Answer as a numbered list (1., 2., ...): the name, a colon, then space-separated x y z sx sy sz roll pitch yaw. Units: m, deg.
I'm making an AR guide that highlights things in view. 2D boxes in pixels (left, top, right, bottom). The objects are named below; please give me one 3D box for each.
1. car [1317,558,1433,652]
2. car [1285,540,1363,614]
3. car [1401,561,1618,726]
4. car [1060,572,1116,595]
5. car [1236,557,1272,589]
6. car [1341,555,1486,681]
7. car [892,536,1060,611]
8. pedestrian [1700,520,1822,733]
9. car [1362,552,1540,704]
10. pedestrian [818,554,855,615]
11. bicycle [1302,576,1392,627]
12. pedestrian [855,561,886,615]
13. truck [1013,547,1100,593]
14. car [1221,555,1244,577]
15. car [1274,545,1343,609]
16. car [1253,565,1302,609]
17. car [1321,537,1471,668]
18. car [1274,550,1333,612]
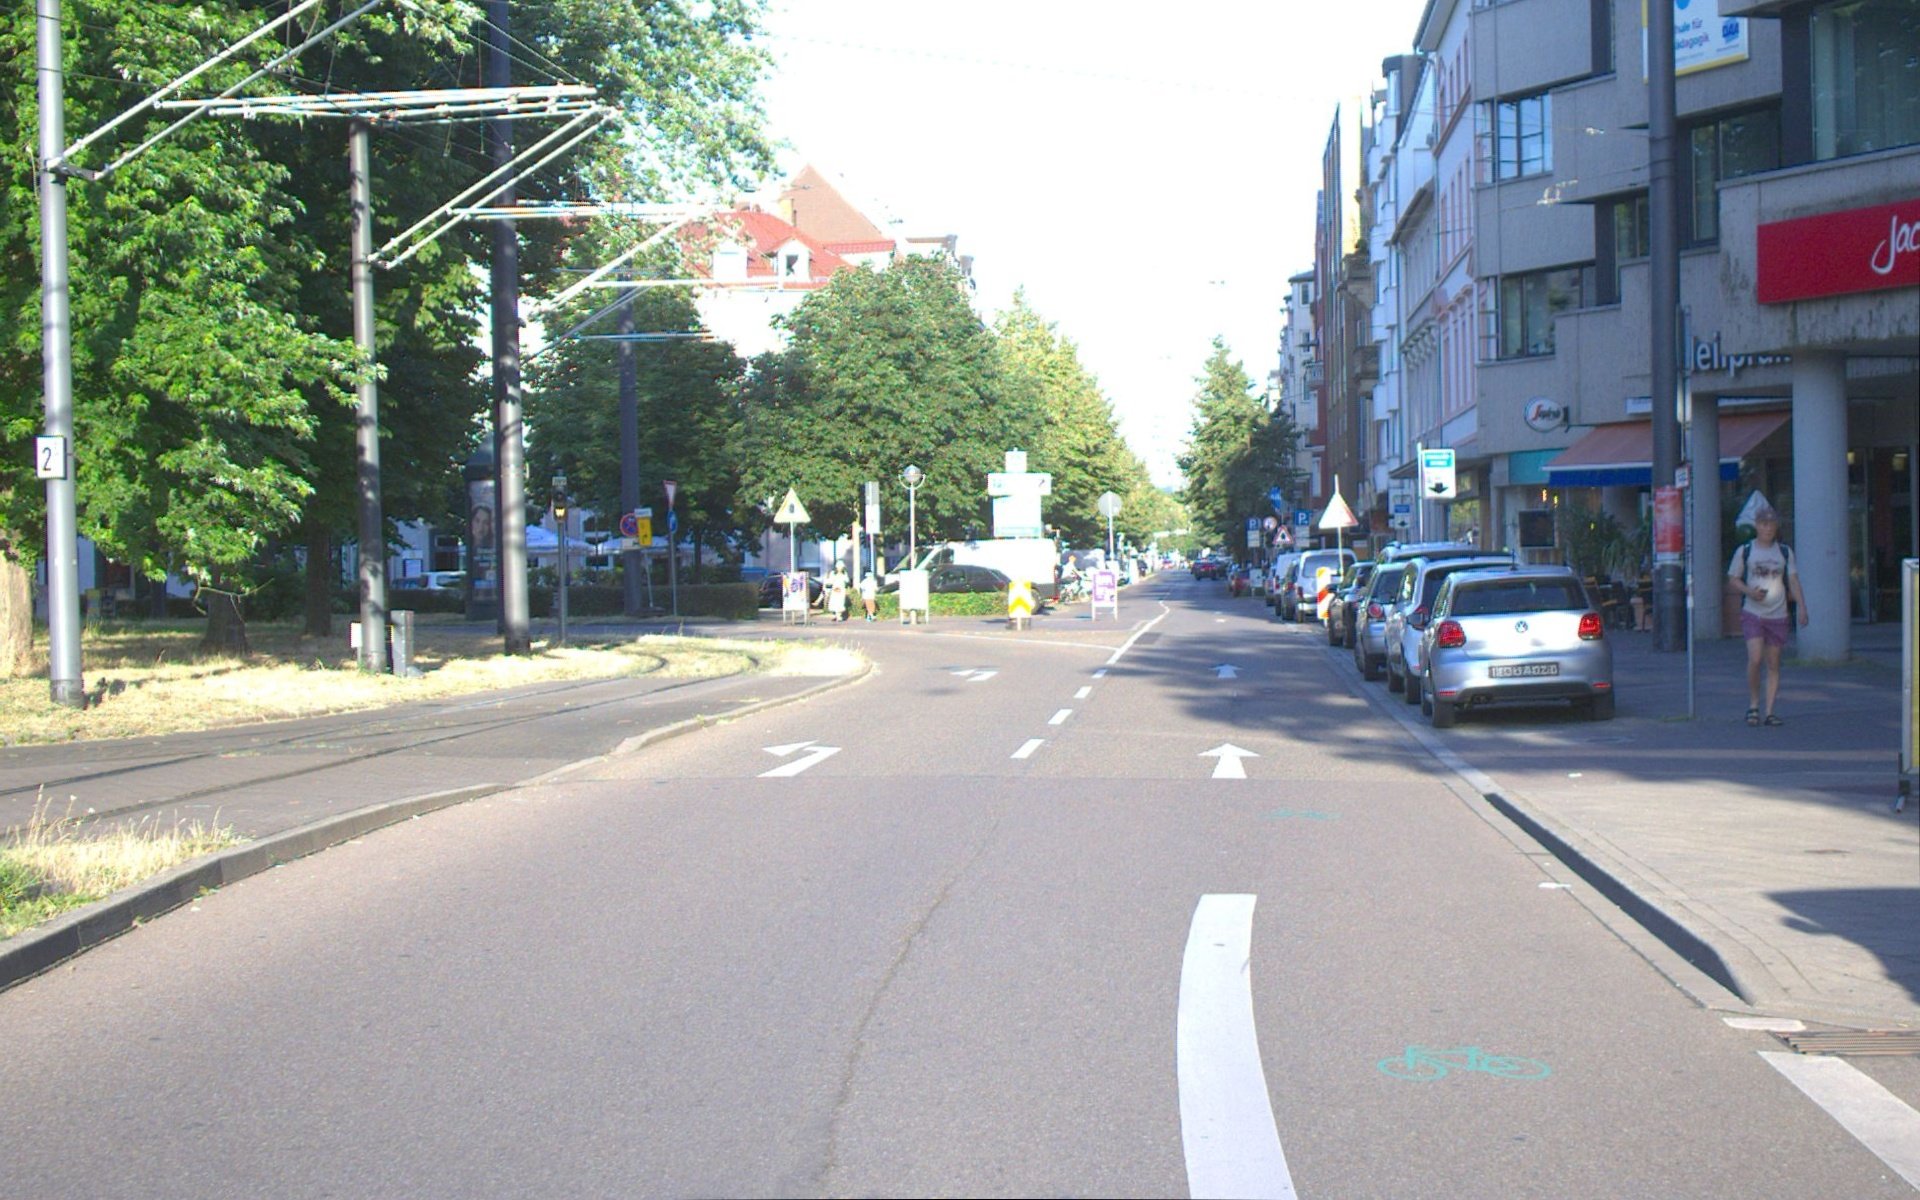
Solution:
1. car: 6.918 0.060 57.599 1.790 1.502 3.920 0 1 5
2. car: 9.059 -0.578 85.833 1.793 1.786 4.091 -1 0 4
3. car: 5.187 0.378 32.860 1.785 1.451 3.999 -1 0 6
4. car: 8.675 -1.101 233.024 3.740 1.488 2.000 -1 0 4
5. car: 15.095 -1.381 176.852 1.576 1.537 3.396 -3 0 1
6. car: 5.767 0.191 44.061 1.641 1.523 3.999 0 1 5
7. car: 0.486 -0.792 104.056 4.597 2.243 2.204 0 0 -22
8. pedestrian: 6.780 0.213 29.119 0.638 1.780 0.857 0 1 -19
9. car: 5.367 0.269 37.916 1.585 1.585 3.668 0 1 3
10. pedestrian: -3.153 -0.408 87.974 0.697 1.553 0.695 0 1 -33
11. bicycle: 8.319 0.032 74.006 1.790 0.986 0.541 -3 2 27
12. pedestrian: -2.302 -0.309 88.436 0.562 1.359 0.614 0 1 -33
13. truck: 5.642 -1.739 200.262 4.941 2.606 2.000 -1 0 4
14. car: 16.560 -2.072 209.045 1.206 1.296 2.661 0 0 1
15. car: 9.221 -0.617 91.182 1.657 1.659 4.107 0 1 3
16. car: 11.998 -0.496 129.820 1.681 1.556 3.999 -2 1 6
17. car: 6.242 -0.002 49.628 1.784 1.798 4.401 0 1 3
18. car: 10.352 -0.593 103.905 1.710 1.829 4.305 0 1 5
